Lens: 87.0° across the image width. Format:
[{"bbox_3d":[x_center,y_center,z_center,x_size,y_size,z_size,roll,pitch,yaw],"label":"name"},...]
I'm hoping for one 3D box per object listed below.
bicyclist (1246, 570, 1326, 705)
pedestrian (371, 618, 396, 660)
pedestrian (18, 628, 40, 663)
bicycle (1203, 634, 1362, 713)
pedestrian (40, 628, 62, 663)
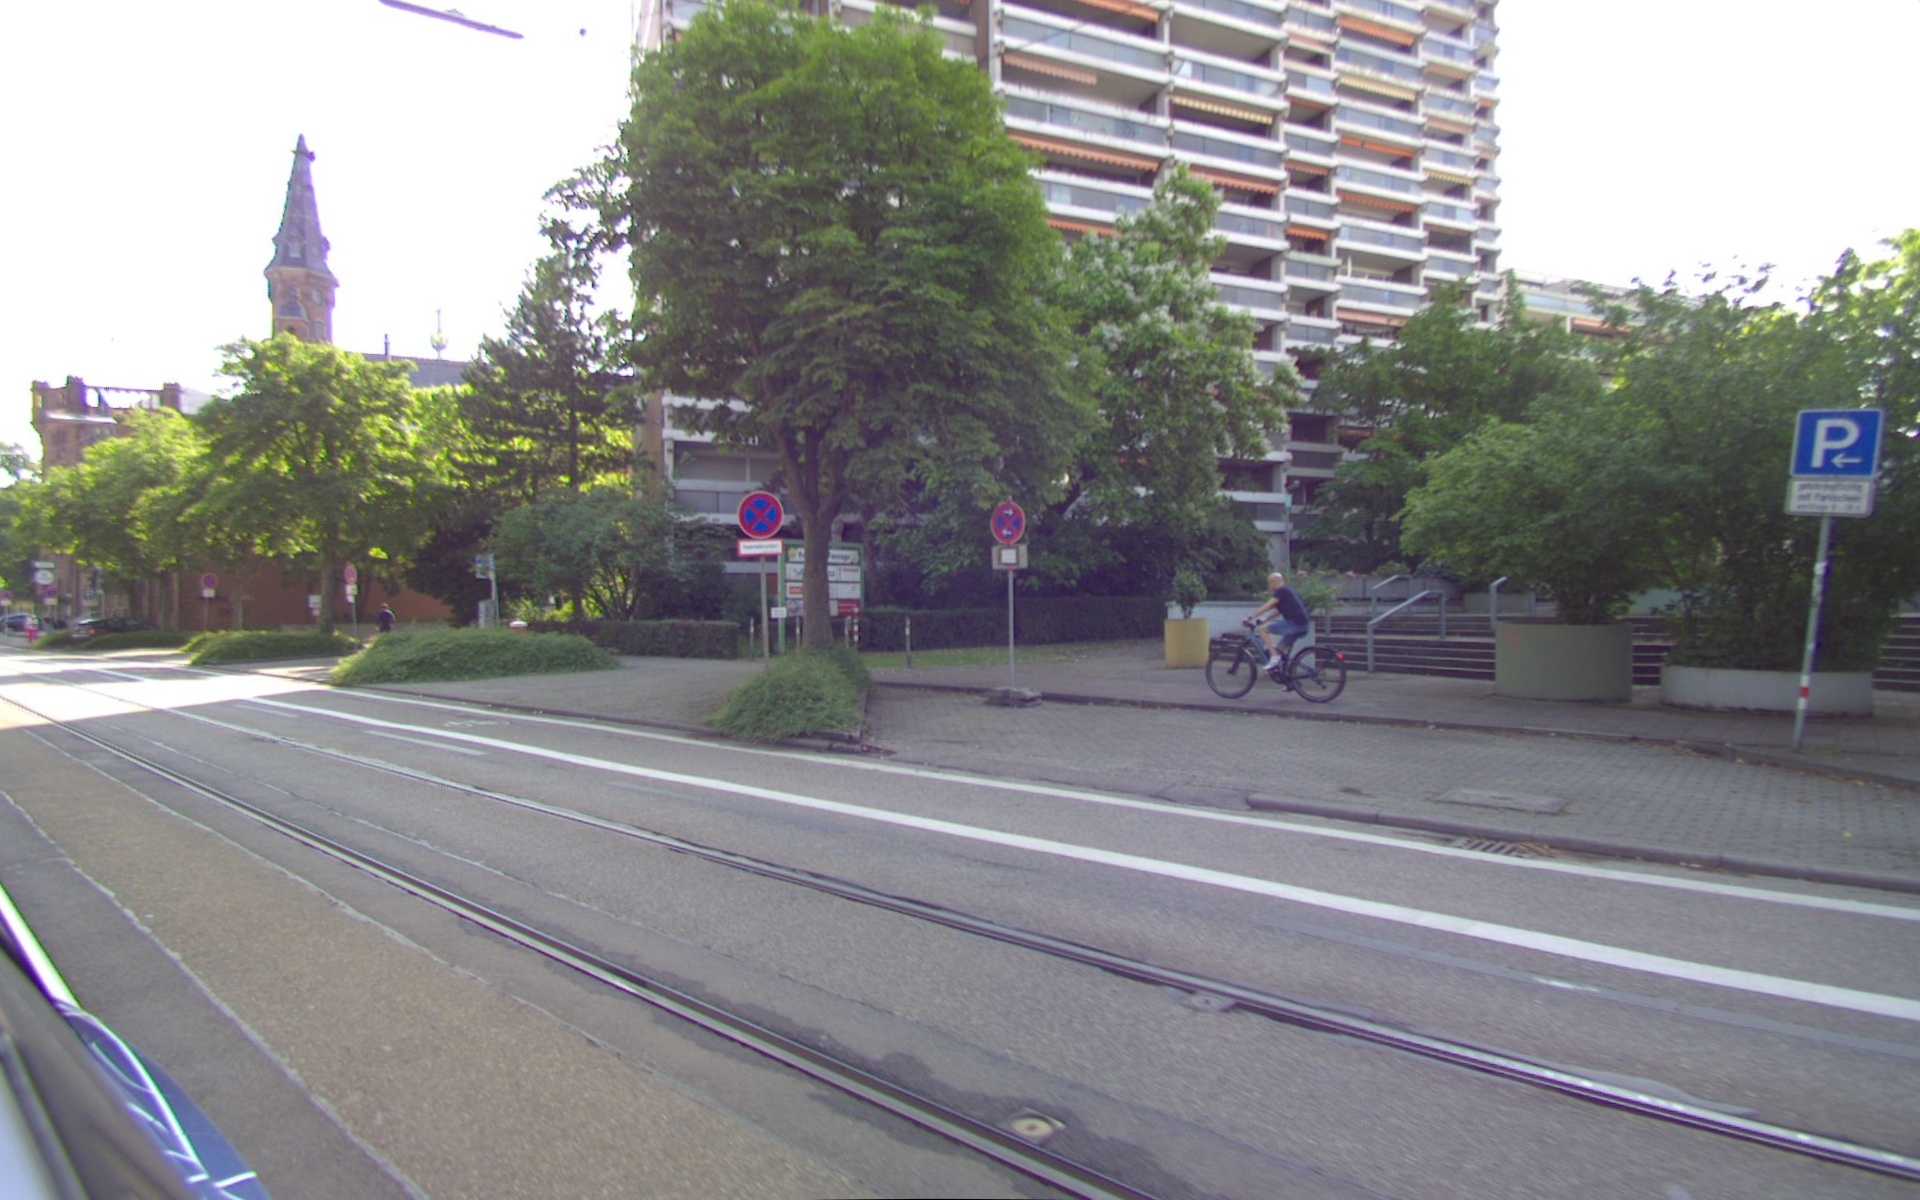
[{"bbox_3d":[4.390,0.492,13.622,0.781,1.753,0.716,-2,-1,41],"label":"bicyclist"},{"bbox_3d":[-23.281,1.563,40.879,0.754,1.642,0.739,-1,-1,-40],"label":"pedestrian"},{"bbox_3d":[-55.420,2.711,60.237,1.057,2.029,0.892,-2,-1,44],"label":"pedestrian"},{"bbox_3d":[4.336,0.958,13.705,1.982,0.988,0.561,-2,-1,41],"label":"bicycle"},{"bbox_3d":[-54.773,2.725,60.978,0.892,2.029,1.058,-1,-1,-45],"label":"pedestrian"}]
